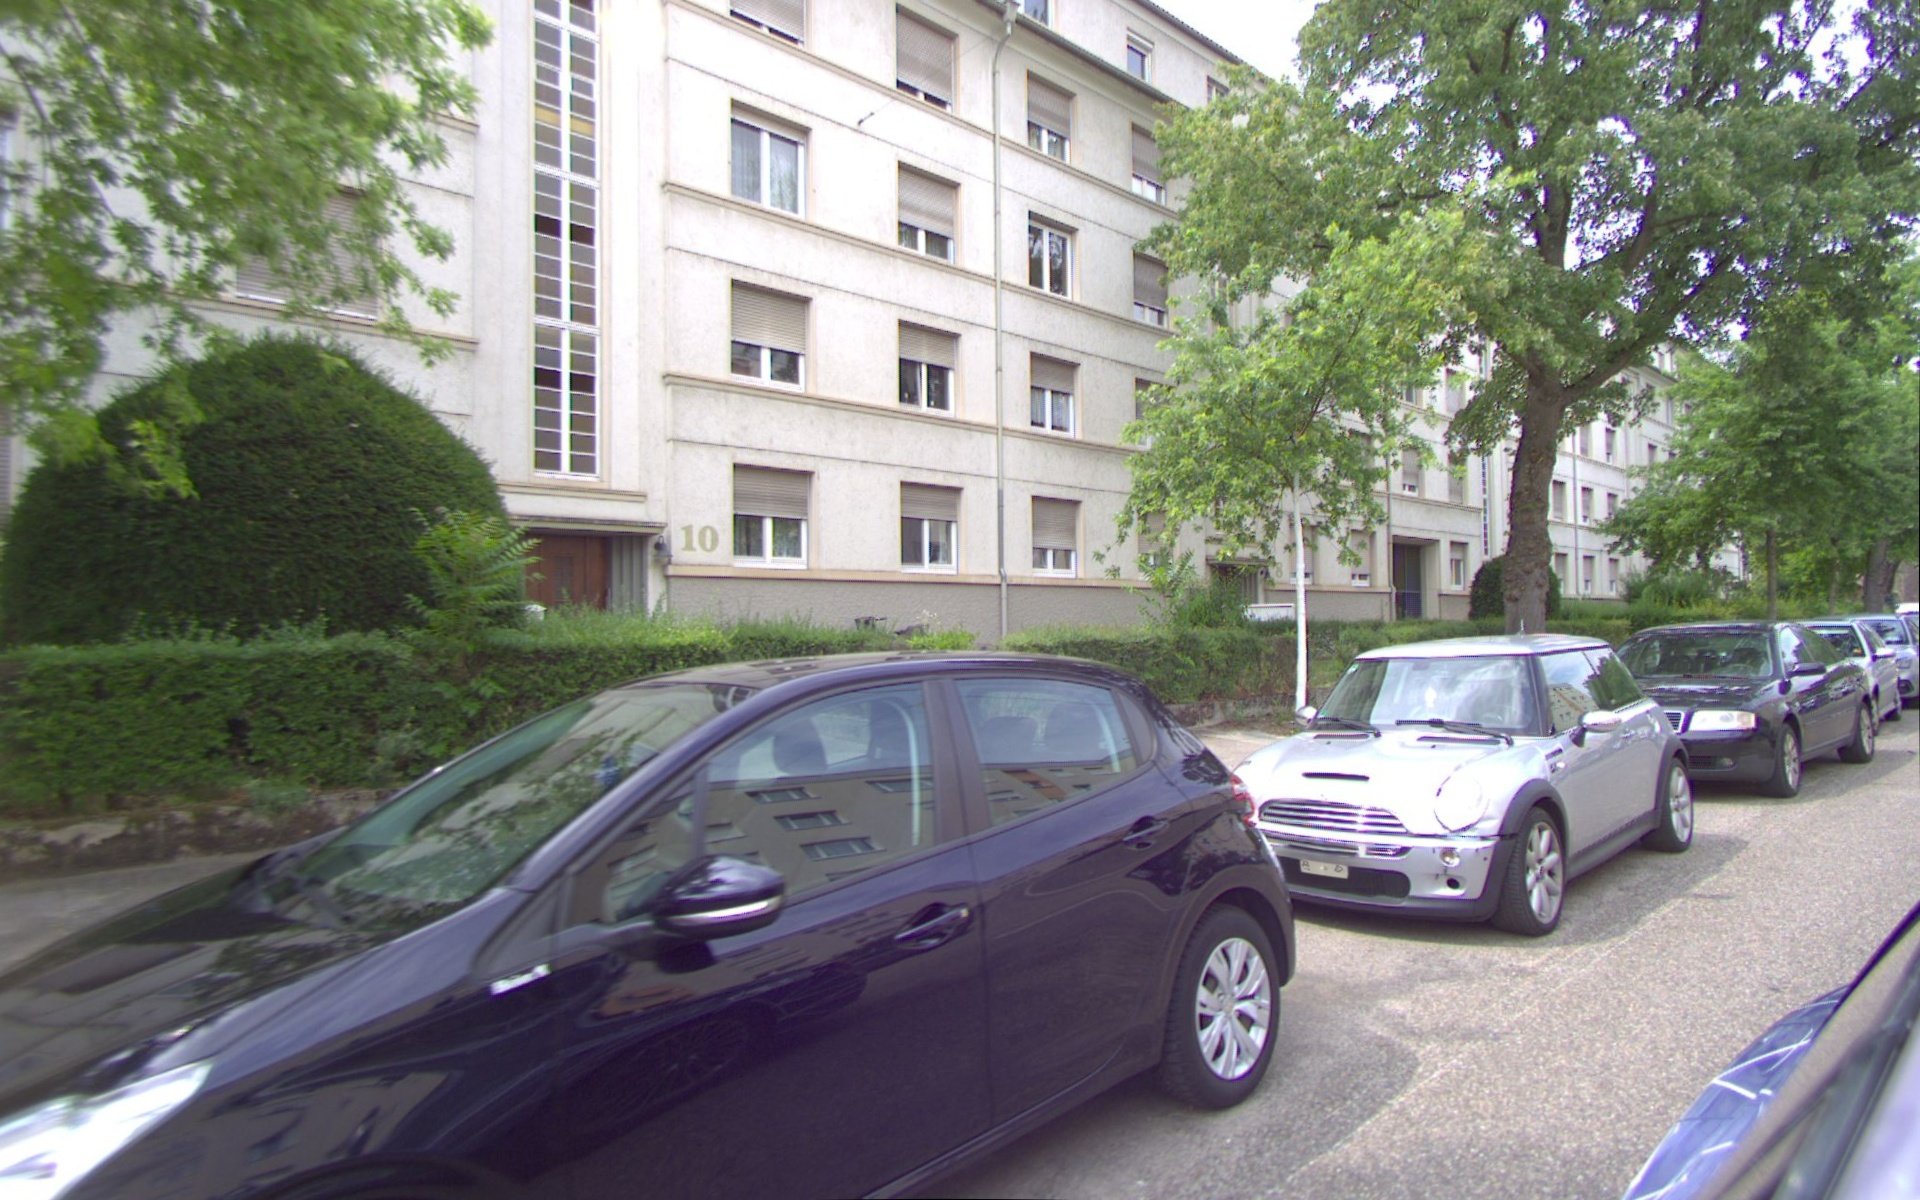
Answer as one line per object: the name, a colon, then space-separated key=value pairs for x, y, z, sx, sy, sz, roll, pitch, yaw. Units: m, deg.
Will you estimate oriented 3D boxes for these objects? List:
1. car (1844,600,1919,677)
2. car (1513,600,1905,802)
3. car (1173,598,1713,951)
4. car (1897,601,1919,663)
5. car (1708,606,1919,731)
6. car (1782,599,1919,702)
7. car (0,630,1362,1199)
car: x=19.968 y=0.757 z=21.128 sx=4.672 sy=1.488 sz=1.699 roll=0 pitch=-3 yaw=-42
car: x=7.228 y=0.787 z=9.595 sx=4.530 sy=1.488 sz=1.783 roll=0 pitch=-3 yaw=-38
car: x=3.084 y=0.788 z=6.147 sx=3.660 sy=1.488 sz=1.661 roll=2 pitch=-2 yaw=-42
car: x=24.933 y=0.743 z=25.248 sx=4.478 sy=1.488 sz=1.700 roll=0 pitch=-3 yaw=-40
car: x=11.460 y=0.833 z=13.415 sx=3.785 sy=1.419 sz=1.671 roll=0 pitch=-4 yaw=-42
car: x=15.167 y=0.772 z=16.718 sx=4.636 sy=1.488 sz=1.699 roll=0 pitch=-3 yaw=-42
car: x=-0.537 y=0.835 z=2.983 sx=3.822 sy=1.488 sz=1.661 roll=2 pitch=-2 yaw=-42
